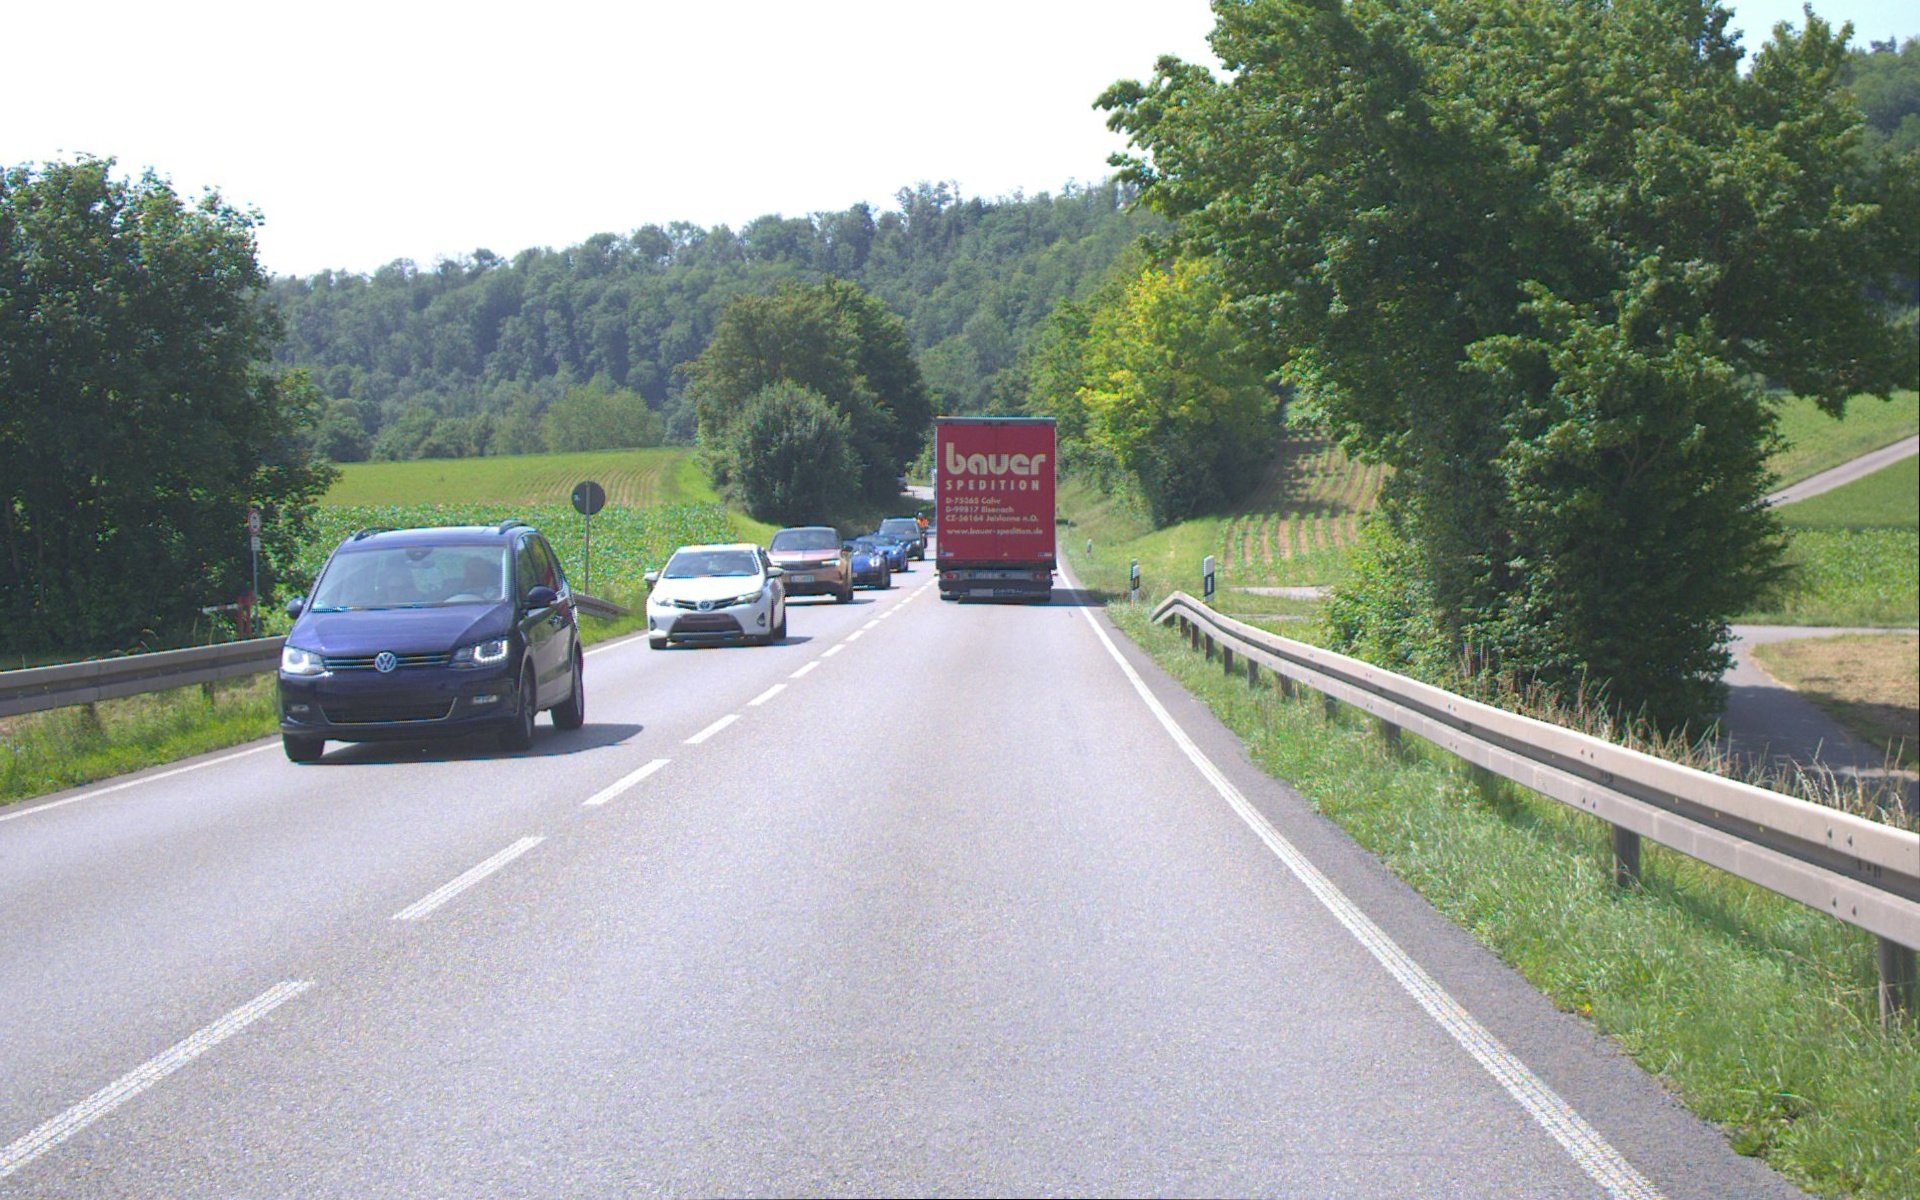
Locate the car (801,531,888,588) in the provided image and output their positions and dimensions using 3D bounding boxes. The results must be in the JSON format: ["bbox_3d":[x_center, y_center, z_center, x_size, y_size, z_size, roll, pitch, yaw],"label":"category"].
[{"bbox_3d":[-2.931,-1.047,87.988,1.993,1.337,4.000,-1,2,1],"label":"car"}]

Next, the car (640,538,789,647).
[{"bbox_3d":[-3.497,-0.135,49.644,1.731,1.429,3.916,-3,1,1],"label":"car"}]

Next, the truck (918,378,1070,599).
[{"bbox_3d":[0.797,-2.513,78.938,3.172,4.609,13.544,0,1,1],"label":"truck"}]

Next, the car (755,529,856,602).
[{"bbox_3d":[-3.318,-0.765,74.537,1.913,1.469,3.874,-1,1,1],"label":"car"}]

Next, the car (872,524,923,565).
[{"bbox_3d":[-2.368,-2.150,131.882,1.808,1.481,4.000,-1,2,1],"label":"car"}]

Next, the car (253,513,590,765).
[{"bbox_3d":[-4.055,0.236,26.576,1.829,1.716,4.363,-2,1,0],"label":"car"}]
